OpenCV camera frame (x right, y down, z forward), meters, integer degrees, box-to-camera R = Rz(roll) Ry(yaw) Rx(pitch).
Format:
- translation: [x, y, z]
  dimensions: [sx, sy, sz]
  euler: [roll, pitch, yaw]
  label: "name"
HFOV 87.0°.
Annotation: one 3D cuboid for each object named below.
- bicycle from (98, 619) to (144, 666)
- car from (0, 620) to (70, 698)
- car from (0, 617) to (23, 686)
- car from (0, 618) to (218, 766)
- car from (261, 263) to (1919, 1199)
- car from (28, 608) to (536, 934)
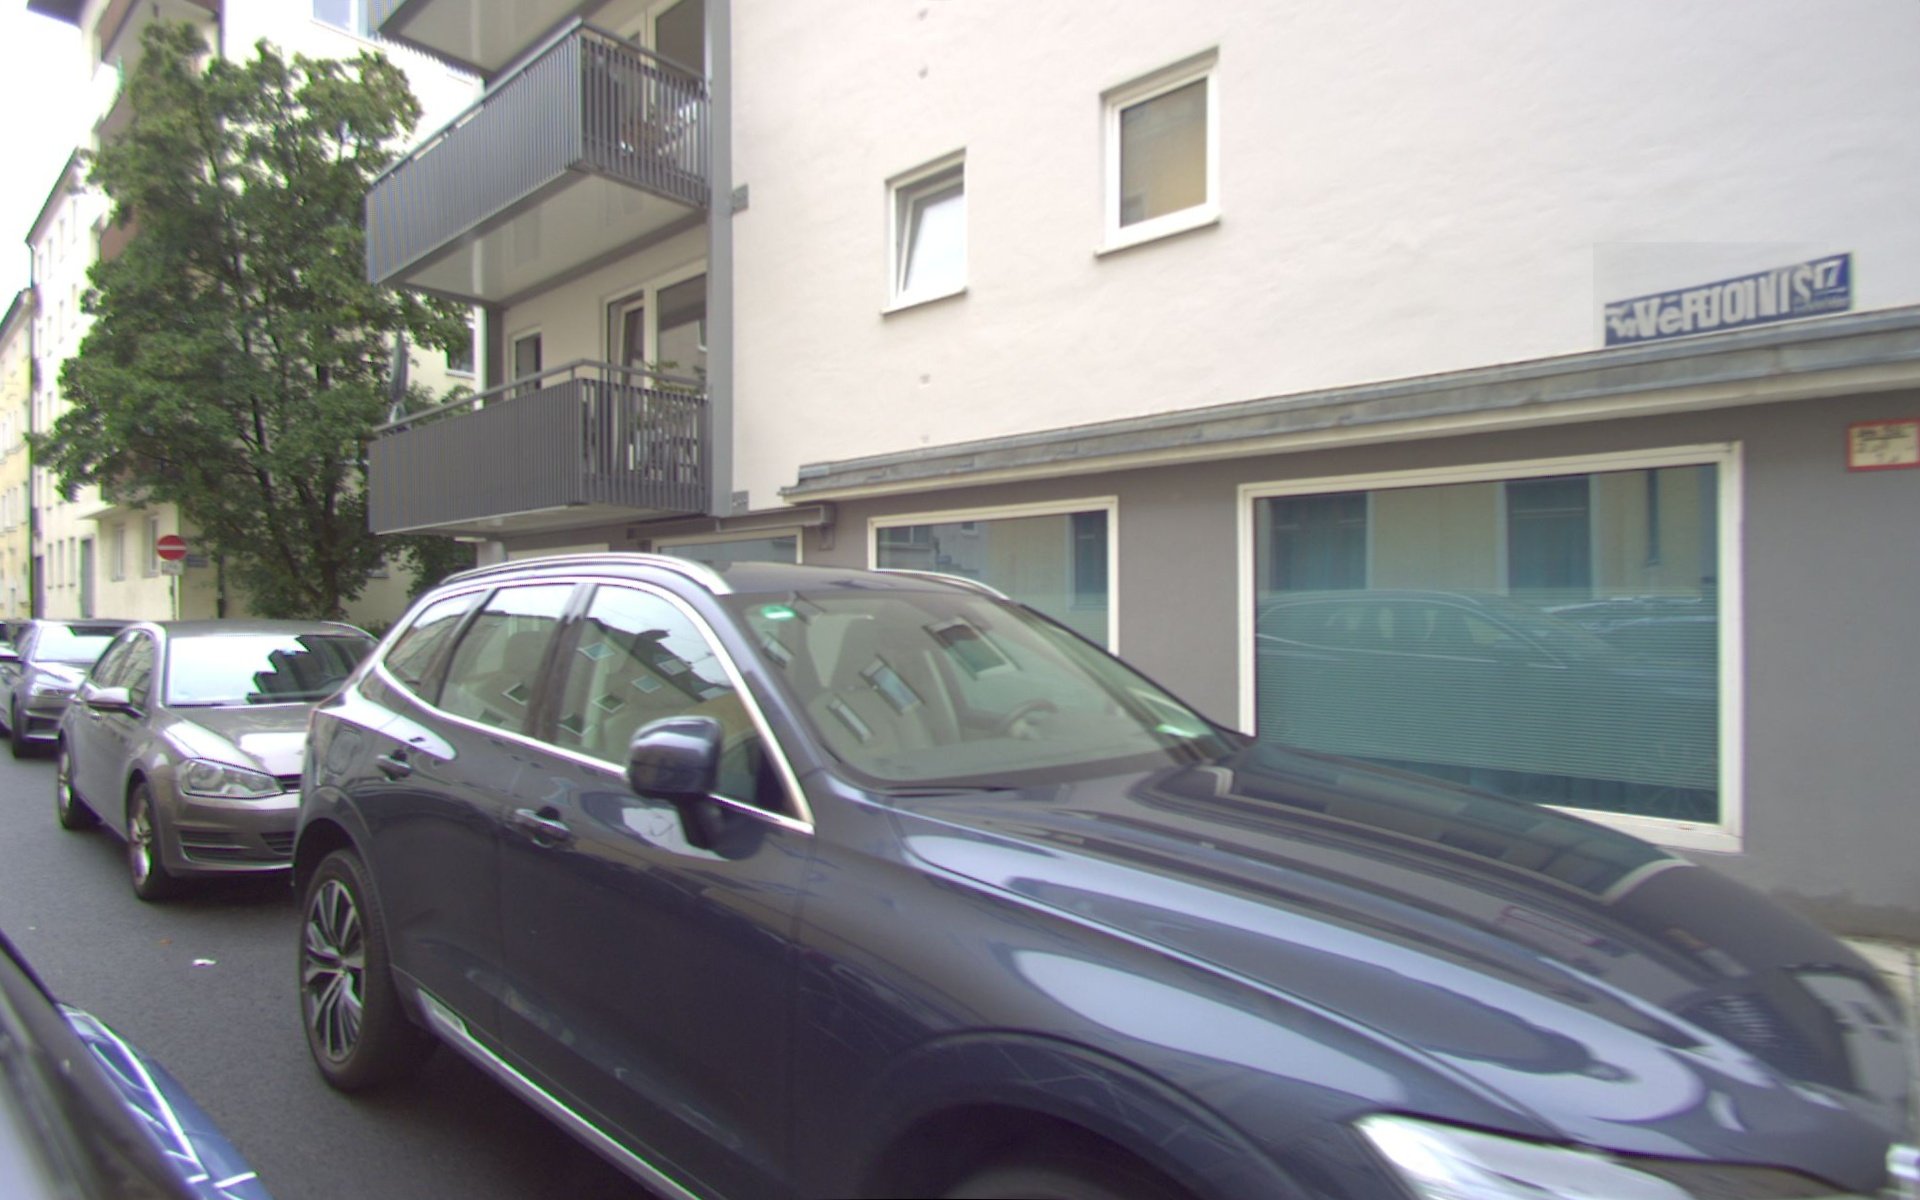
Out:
- translation: [-21.732, 1.096, 26.207]
  dimensions: [1.789, 1.170, 0.638]
  euler: [-1, -2, 42]
  label: "bicycle"
- translation: [-18.934, 1.099, 19.770]
  dimensions: [4.382, 1.419, 1.836]
  euler: [-1, -2, 42]
  label: "car"
- translation: [-22.952, 1.146, 23.262]
  dimensions: [4.424, 1.494, 1.746]
  euler: [0, -1, 43]
  label: "car"
- translation: [-10.237, 0.955, 11.910]
  dimensions: [3.941, 1.453, 1.674]
  euler: [-1, -2, 42]
  label: "car"
- translation: [-0.180, 0.634, 2.650]
  dimensions: [4.414, 1.642, 1.757]
  euler: [-1, -2, 42]
  label: "car"
- translation: [-4.496, 0.812, 6.480]
  dimensions: [3.974, 1.453, 1.675]
  euler: [-1, -2, 40]
  label: "car"
